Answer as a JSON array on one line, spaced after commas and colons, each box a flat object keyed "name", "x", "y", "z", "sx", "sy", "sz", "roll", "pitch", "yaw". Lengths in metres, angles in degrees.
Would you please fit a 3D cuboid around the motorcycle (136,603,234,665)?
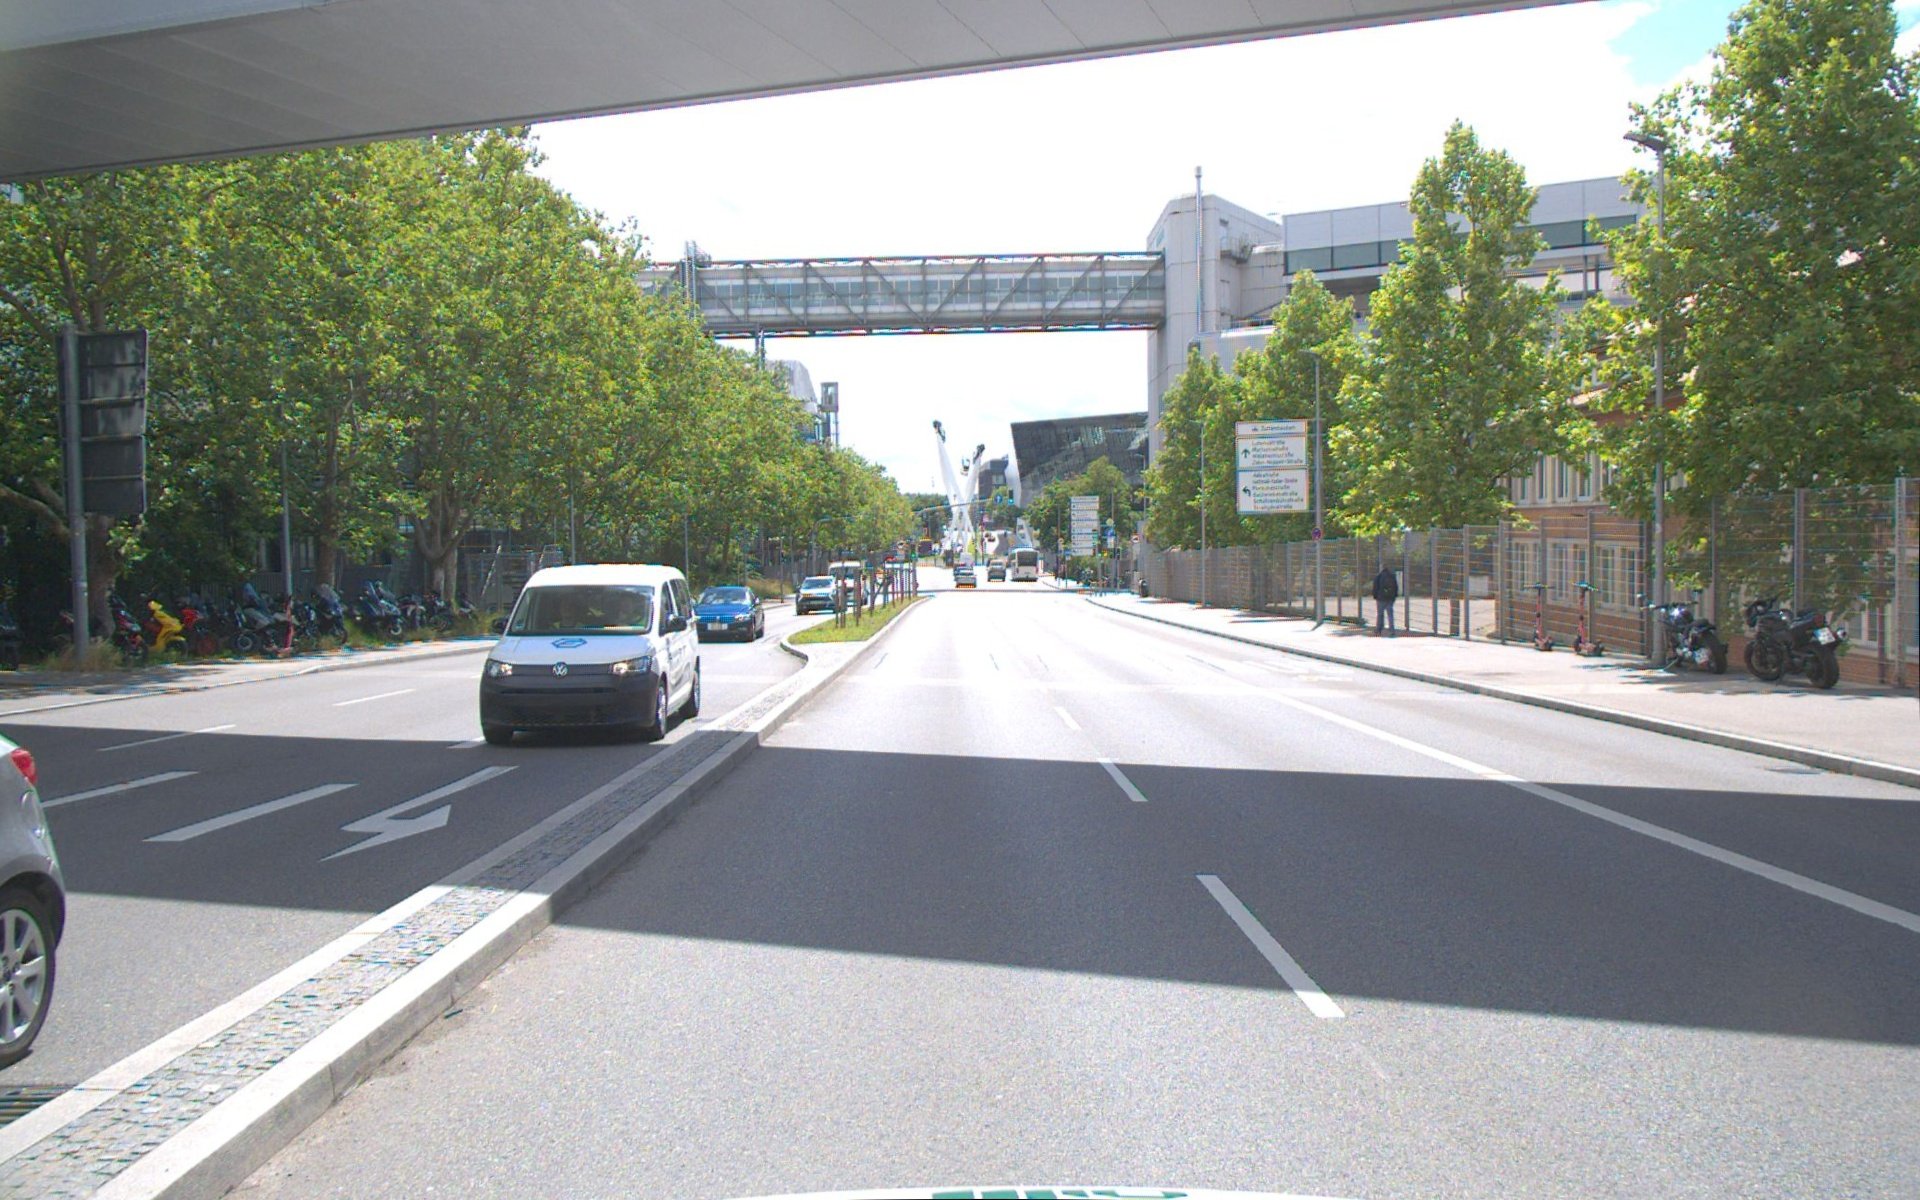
[{"name": "motorcycle", "x": -15.373, "y": 0.670, "z": 32.819, "sx": 1.558, "sy": 1.142, "sz": 0.776, "roll": 1, "pitch": 2, "yaw": 1}]

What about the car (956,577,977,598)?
[{"name": "car", "x": 0.573, "y": -1.127, "z": 144.216, "sx": 1.702, "sy": 1.772, "sz": 3.692, "roll": 0, "pitch": 1, "yaw": 1}]

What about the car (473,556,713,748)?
[{"name": "car", "x": -3.860, "y": 0.475, "z": 18.234, "sx": 1.772, "sy": 1.811, "sz": 4.975, "roll": -1, "pitch": 0, "yaw": -3}]

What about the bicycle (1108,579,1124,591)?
[{"name": "bicycle", "x": 12.684, "y": -1.240, "z": 134.476, "sx": 0.392, "sy": 0.953, "sz": 1.914, "roll": 0, "pitch": 1, "yaw": -24}]

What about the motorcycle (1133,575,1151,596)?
[{"name": "motorcycle", "x": 10.632, "y": -0.851, "z": 96.708, "sx": 0.679, "sy": 1.178, "sz": 2.146, "roll": -2, "pitch": 1, "yaw": -4}]

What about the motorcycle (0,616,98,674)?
[{"name": "motorcycle", "x": -15.809, "y": 0.759, "z": 28.460, "sx": 1.706, "sy": 0.883, "sz": 0.776, "roll": 2, "pitch": 2, "yaw": 20}]

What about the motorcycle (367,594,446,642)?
[{"name": "motorcycle", "x": -14.972, "y": 0.481, "z": 44.772, "sx": 1.838, "sy": 1.200, "sz": 0.816, "roll": 2, "pitch": 2, "yaw": 9}]

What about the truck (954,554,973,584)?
[{"name": "truck", "x": 0.495, "y": -4.172, "z": 223.260, "sx": 2.343, "sy": 3.965, "sz": 6.178, "roll": 0, "pitch": 1, "yaw": 1}]

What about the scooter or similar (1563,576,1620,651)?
[{"name": "scooter or similar", "x": 11.392, "y": 0.232, "z": 29.879, "sx": 0.481, "sy": 1.317, "sz": 1.336, "roll": -2, "pitch": 0, "yaw": 0}]

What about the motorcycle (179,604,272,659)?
[{"name": "motorcycle", "x": -15.155, "y": 0.648, "z": 34.154, "sx": 1.558, "sy": 1.051, "sz": 0.776, "roll": 1, "pitch": 2, "yaw": 1}]

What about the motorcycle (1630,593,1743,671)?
[{"name": "motorcycle", "x": 10.984, "y": 0.466, "z": 25.100, "sx": 0.654, "sy": 1.082, "sz": 2.247, "roll": -3, "pitch": 0, "yaw": 0}]

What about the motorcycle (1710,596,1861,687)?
[{"name": "motorcycle", "x": 10.909, "y": 0.520, "z": 21.970, "sx": 0.693, "sy": 1.082, "sz": 2.510, "roll": -3, "pitch": 0, "yaw": 0}]

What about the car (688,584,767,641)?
[{"name": "car", "x": -6.355, "y": 0.303, "z": 45.651, "sx": 1.674, "sy": 1.479, "sz": 4.478, "roll": 0, "pitch": 1, "yaw": -2}]

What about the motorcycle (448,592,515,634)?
[{"name": "motorcycle", "x": -14.769, "y": 0.394, "z": 51.080, "sx": 1.838, "sy": 1.193, "sz": 0.746, "roll": 2, "pitch": 2, "yaw": 9}]

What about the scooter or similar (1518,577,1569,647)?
[{"name": "scooter or similar", "x": 11.383, "y": 0.229, "z": 32.297, "sx": 0.481, "sy": 1.317, "sz": 1.336, "roll": -2, "pitch": 0, "yaw": 0}]

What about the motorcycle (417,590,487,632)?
[{"name": "motorcycle", "x": -15.199, "y": 0.325, "z": 49.520, "sx": 1.838, "sy": 1.207, "sz": 0.730, "roll": 2, "pitch": 1, "yaw": 8}]

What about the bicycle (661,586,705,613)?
[{"name": "bicycle", "x": -14.189, "y": -0.015, "z": 84.746, "sx": 2.122, "sy": 1.387, "sz": 0.490, "roll": 0, "pitch": 0, "yaw": 2}]

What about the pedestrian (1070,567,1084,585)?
[{"name": "pedestrian", "x": 10.701, "y": -2.194, "z": 151.056, "sx": 0.835, "sy": 1.653, "sz": 0.951, "roll": 0, "pitch": 1, "yaw": 42}]

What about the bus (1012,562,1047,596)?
[{"name": "bus", "x": 7.468, "y": -2.286, "z": 178.680, "sx": 3.381, "sy": 3.605, "sz": 10.607, "roll": 0, "pitch": 1, "yaw": 0}]

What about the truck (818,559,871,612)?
[{"name": "truck", "x": -6.334, "y": -0.826, "z": 91.212, "sx": 2.428, "sy": 2.799, "sz": 6.458, "roll": -1, "pitch": 1, "yaw": 0}]

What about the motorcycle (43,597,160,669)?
[{"name": "motorcycle", "x": -15.255, "y": 0.578, "z": 29.406, "sx": 1.705, "sy": 1.191, "sz": 0.777, "roll": 2, "pitch": 2, "yaw": 8}]

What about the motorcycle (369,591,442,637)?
[{"name": "motorcycle", "x": -15.787, "y": 0.382, "z": 47.122, "sx": 1.838, "sy": 1.231, "sz": 0.655, "roll": 1, "pitch": 2, "yaw": 4}]

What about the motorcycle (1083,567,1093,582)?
[{"name": "motorcycle", "x": 10.826, "y": -2.133, "z": 140.410, "sx": 0.692, "sy": 1.224, "sz": 2.024, "roll": -2, "pitch": 2, "yaw": 1}]

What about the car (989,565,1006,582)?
[{"name": "car", "x": 3.892, "y": -2.737, "z": 171.729, "sx": 1.702, "sy": 1.772, "sz": 3.692, "roll": 0, "pitch": 1, "yaw": 1}]

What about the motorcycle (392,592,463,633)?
[{"name": "motorcycle", "x": -15.495, "y": 0.349, "z": 48.143, "sx": 1.838, "sy": 1.103, "sz": 0.795, "roll": 2, "pitch": 2, "yaw": 15}]

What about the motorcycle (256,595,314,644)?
[{"name": "motorcycle", "x": -18.599, "y": 0.520, "z": 45.628, "sx": 0.639, "sy": 1.231, "sz": 1.984, "roll": 1, "pitch": 2, "yaw": 4}]

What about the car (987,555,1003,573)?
[{"name": "car", "x": 4.210, "y": -4.276, "z": 199.056, "sx": 1.952, "sy": 2.049, "sz": 4.000, "roll": 1, "pitch": 0, "yaw": 1}]

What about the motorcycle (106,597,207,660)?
[{"name": "motorcycle", "x": -15.382, "y": 0.547, "z": 31.684, "sx": 1.561, "sy": 1.142, "sz": 0.774, "roll": 1, "pitch": 2, "yaw": -9}]

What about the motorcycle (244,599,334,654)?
[{"name": "motorcycle", "x": -15.499, "y": 0.600, "z": 38.203, "sx": 1.894, "sy": 1.135, "sz": 0.920, "roll": 2, "pitch": 2, "yaw": 27}]

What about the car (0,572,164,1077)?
[{"name": "car", "x": -3.715, "y": 0.693, "z": 3.991, "sx": 1.674, "sy": 1.514, "sz": 3.983, "roll": -1, "pitch": 0, "yaw": -1}]

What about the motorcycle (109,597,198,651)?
[{"name": "motorcycle", "x": -18.877, "y": 0.543, "z": 38.695, "sx": 1.894, "sy": 1.135, "sz": 0.920, "roll": 2, "pitch": 2, "yaw": 27}]

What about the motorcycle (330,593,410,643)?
[{"name": "motorcycle", "x": -15.383, "y": 0.470, "z": 43.129, "sx": 1.838, "sy": 1.200, "sz": 0.815, "roll": 2, "pitch": 2, "yaw": 15}]

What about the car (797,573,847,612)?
[{"name": "car", "x": -6.057, "y": -0.363, "z": 73.002, "sx": 1.866, "sy": 1.659, "sz": 4.293, "roll": 0, "pitch": 1, "yaw": 0}]

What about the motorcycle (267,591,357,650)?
[{"name": "motorcycle", "x": -15.456, "y": 0.472, "z": 39.456, "sx": 1.892, "sy": 1.313, "sz": 0.893, "roll": 2, "pitch": 2, "yaw": 21}]

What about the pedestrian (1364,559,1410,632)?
[{"name": "pedestrian", "x": 10.773, "y": -0.120, "z": 41.766, "sx": 0.859, "sy": 1.774, "sz": 0.940, "roll": -3, "pitch": 0, "yaw": 0}]

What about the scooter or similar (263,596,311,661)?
[{"name": "scooter or similar", "x": -13.435, "y": 0.566, "z": 33.053, "sx": 0.347, "sy": 1.258, "sz": 1.479, "roll": 1, "pitch": -1, "yaw": 0}]

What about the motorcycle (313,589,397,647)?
[{"name": "motorcycle", "x": -15.324, "y": 0.440, "z": 41.908, "sx": 1.892, "sy": 1.367, "sz": 0.865, "roll": 2, "pitch": 2, "yaw": 21}]

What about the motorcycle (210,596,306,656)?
[{"name": "motorcycle", "x": -14.927, "y": 0.553, "z": 35.212, "sx": 1.715, "sy": 1.199, "sz": 0.850, "roll": 1, "pitch": 2, "yaw": -12}]

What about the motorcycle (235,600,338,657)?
[{"name": "motorcycle", "x": -14.784, "y": 0.624, "z": 36.365, "sx": 1.898, "sy": 1.135, "sz": 0.919, "roll": -3, "pitch": 0, "yaw": -12}]
